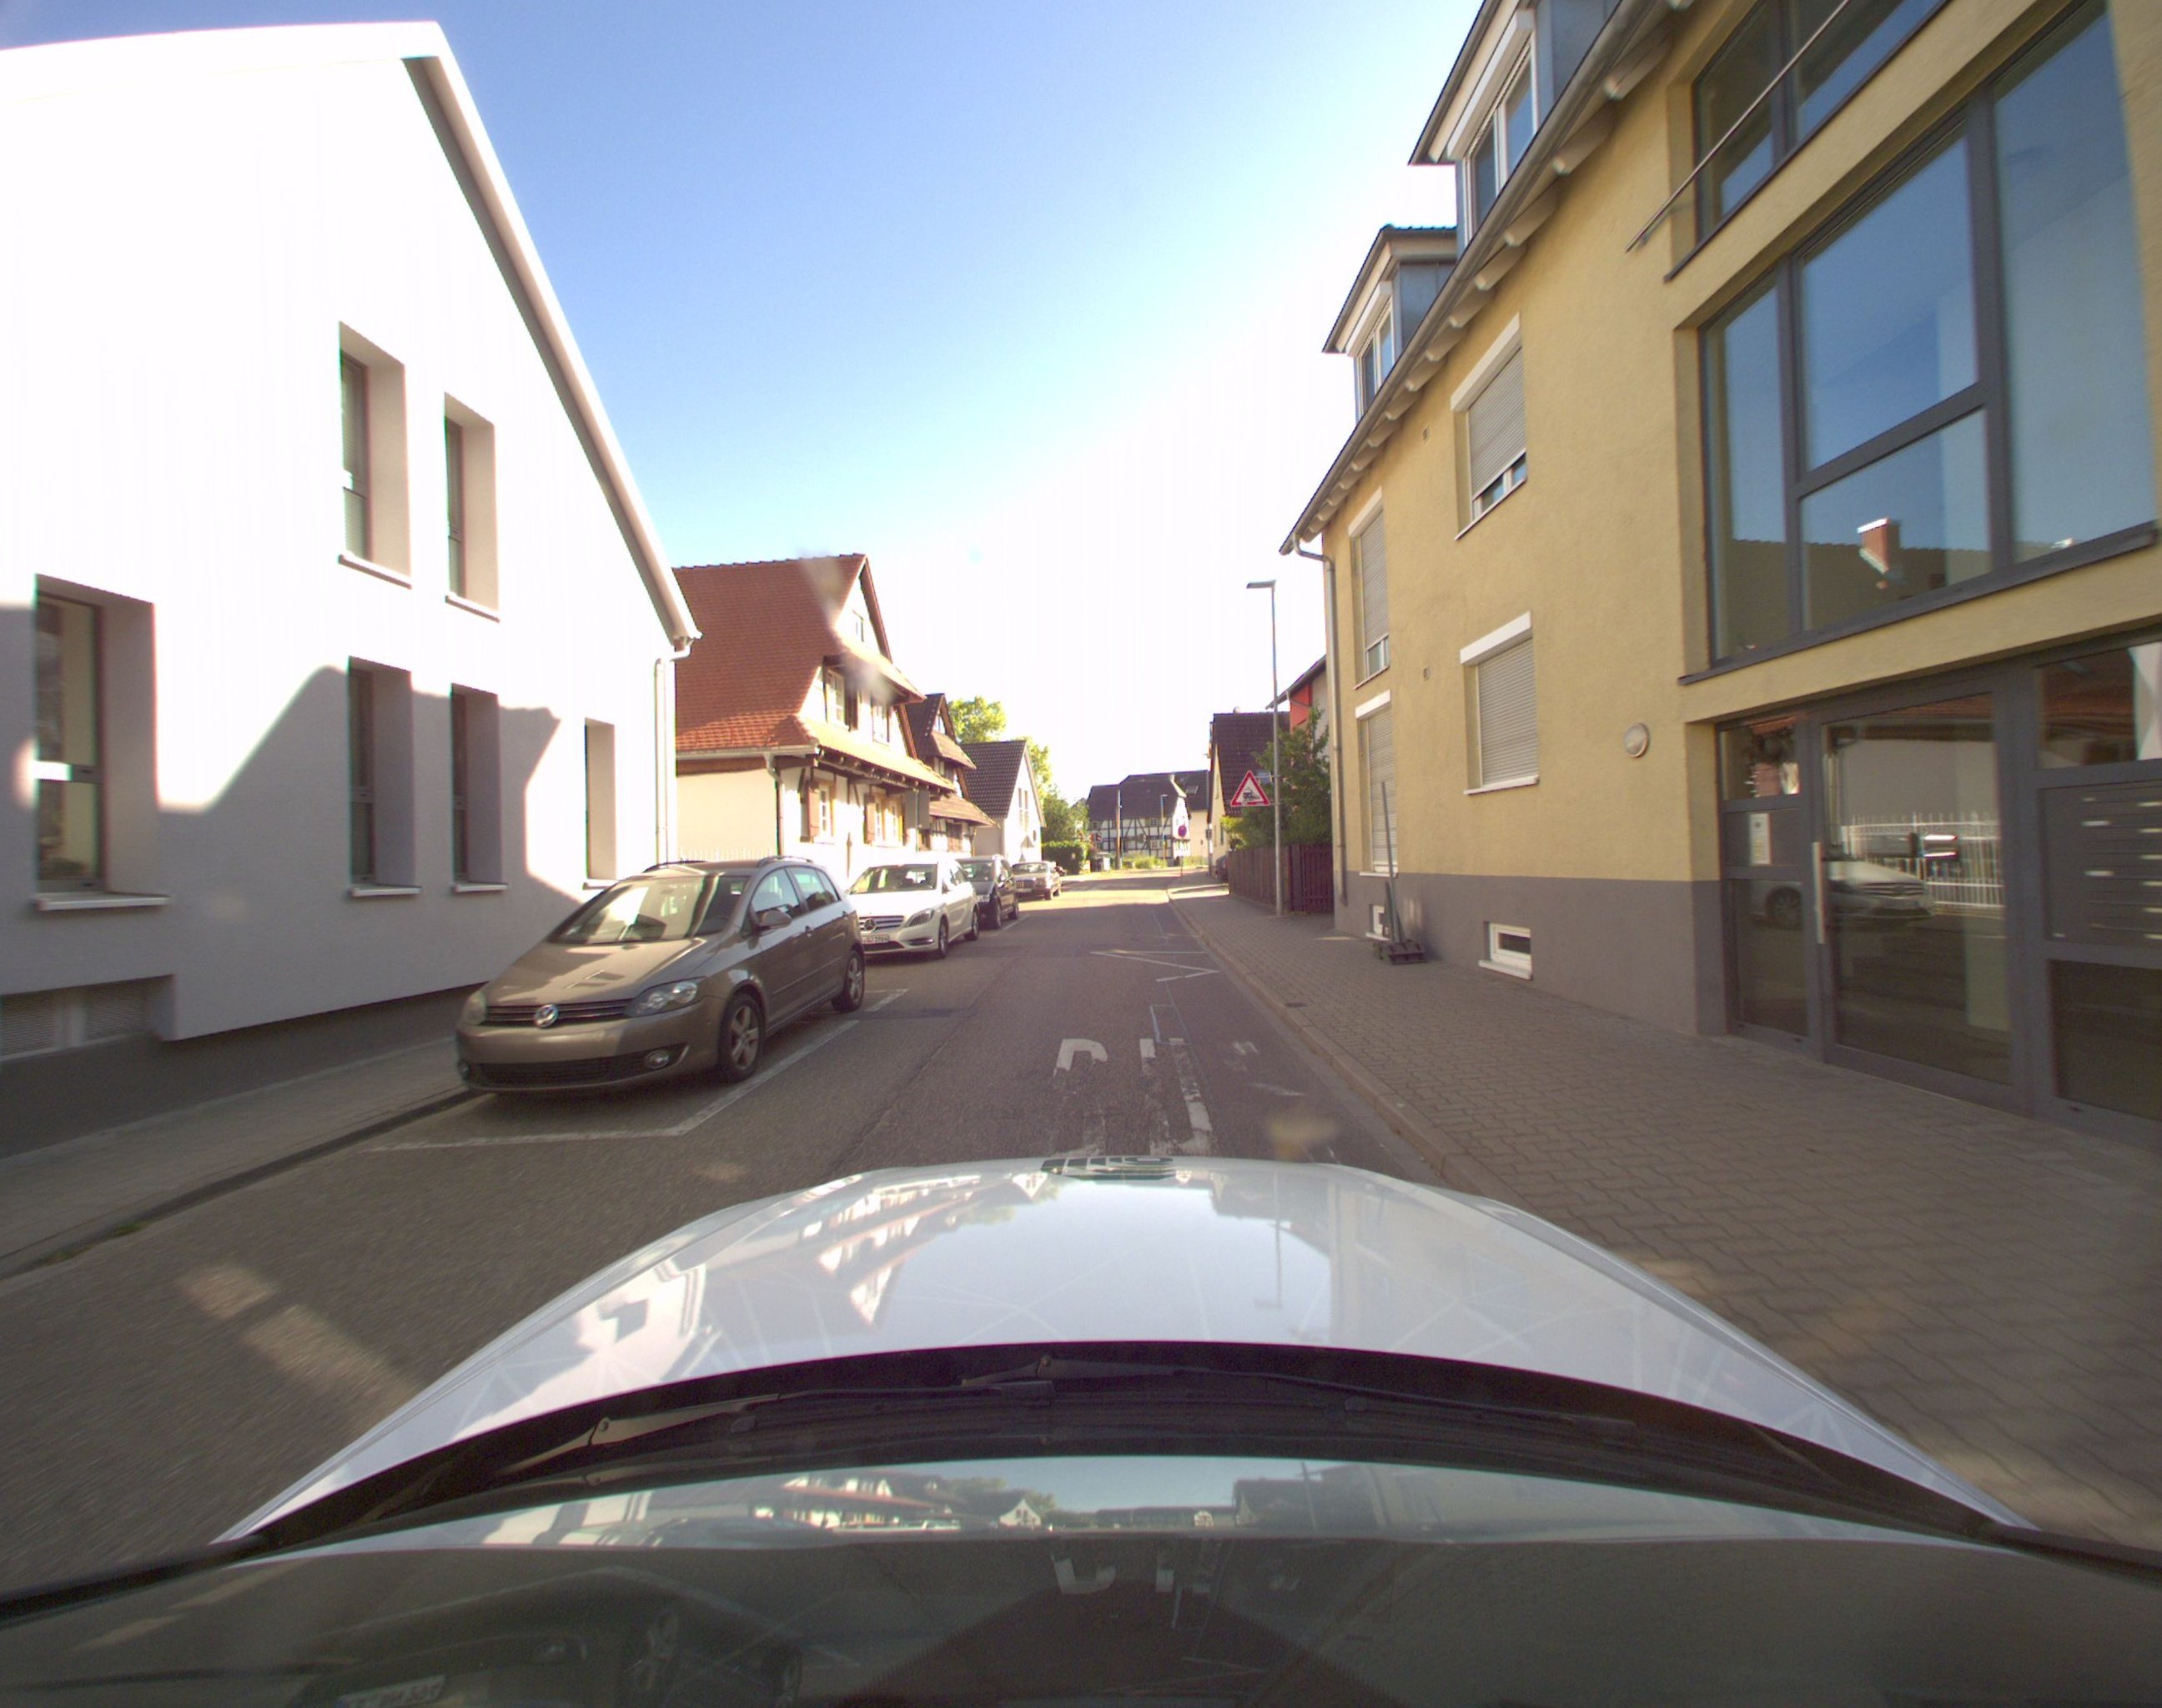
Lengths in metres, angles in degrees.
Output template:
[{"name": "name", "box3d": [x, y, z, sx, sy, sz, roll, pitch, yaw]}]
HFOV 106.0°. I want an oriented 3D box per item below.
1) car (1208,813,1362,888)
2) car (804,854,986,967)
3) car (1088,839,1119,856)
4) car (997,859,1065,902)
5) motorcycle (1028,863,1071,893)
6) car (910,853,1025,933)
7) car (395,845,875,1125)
[{"name": "car", "box3d": [8.397, -0.126, 33.884, 5.785, 2.655, 1.967, -3, -2, -1]}, {"name": "car", "box3d": [-2.918, 0.835, 13.739, 1.808, 1.567, 4.172, -2, -1, 4]}, {"name": "car", "box3d": [2.180, -0.607, 79.460, 1.689, 1.564, 3.974, 0, -1, -19]}, {"name": "car", "box3d": [-1.783, 0.949, 30.752, 1.836, 1.406, 5.042, -3, -1, 4]}, {"name": "motorcycle", "box3d": [-1.349, 1.016, 34.433, 0.630, 1.231, 1.970, -2, 0, -42]}, {"name": "car", "box3d": [-2.527, 0.834, 19.225, 1.776, 1.605, 4.366, -2, -1, 4]}, {"name": "car", "box3d": [-3.179, 0.812, 6.874, 1.736, 1.614, 4.001, -2, -1, 1]}]
